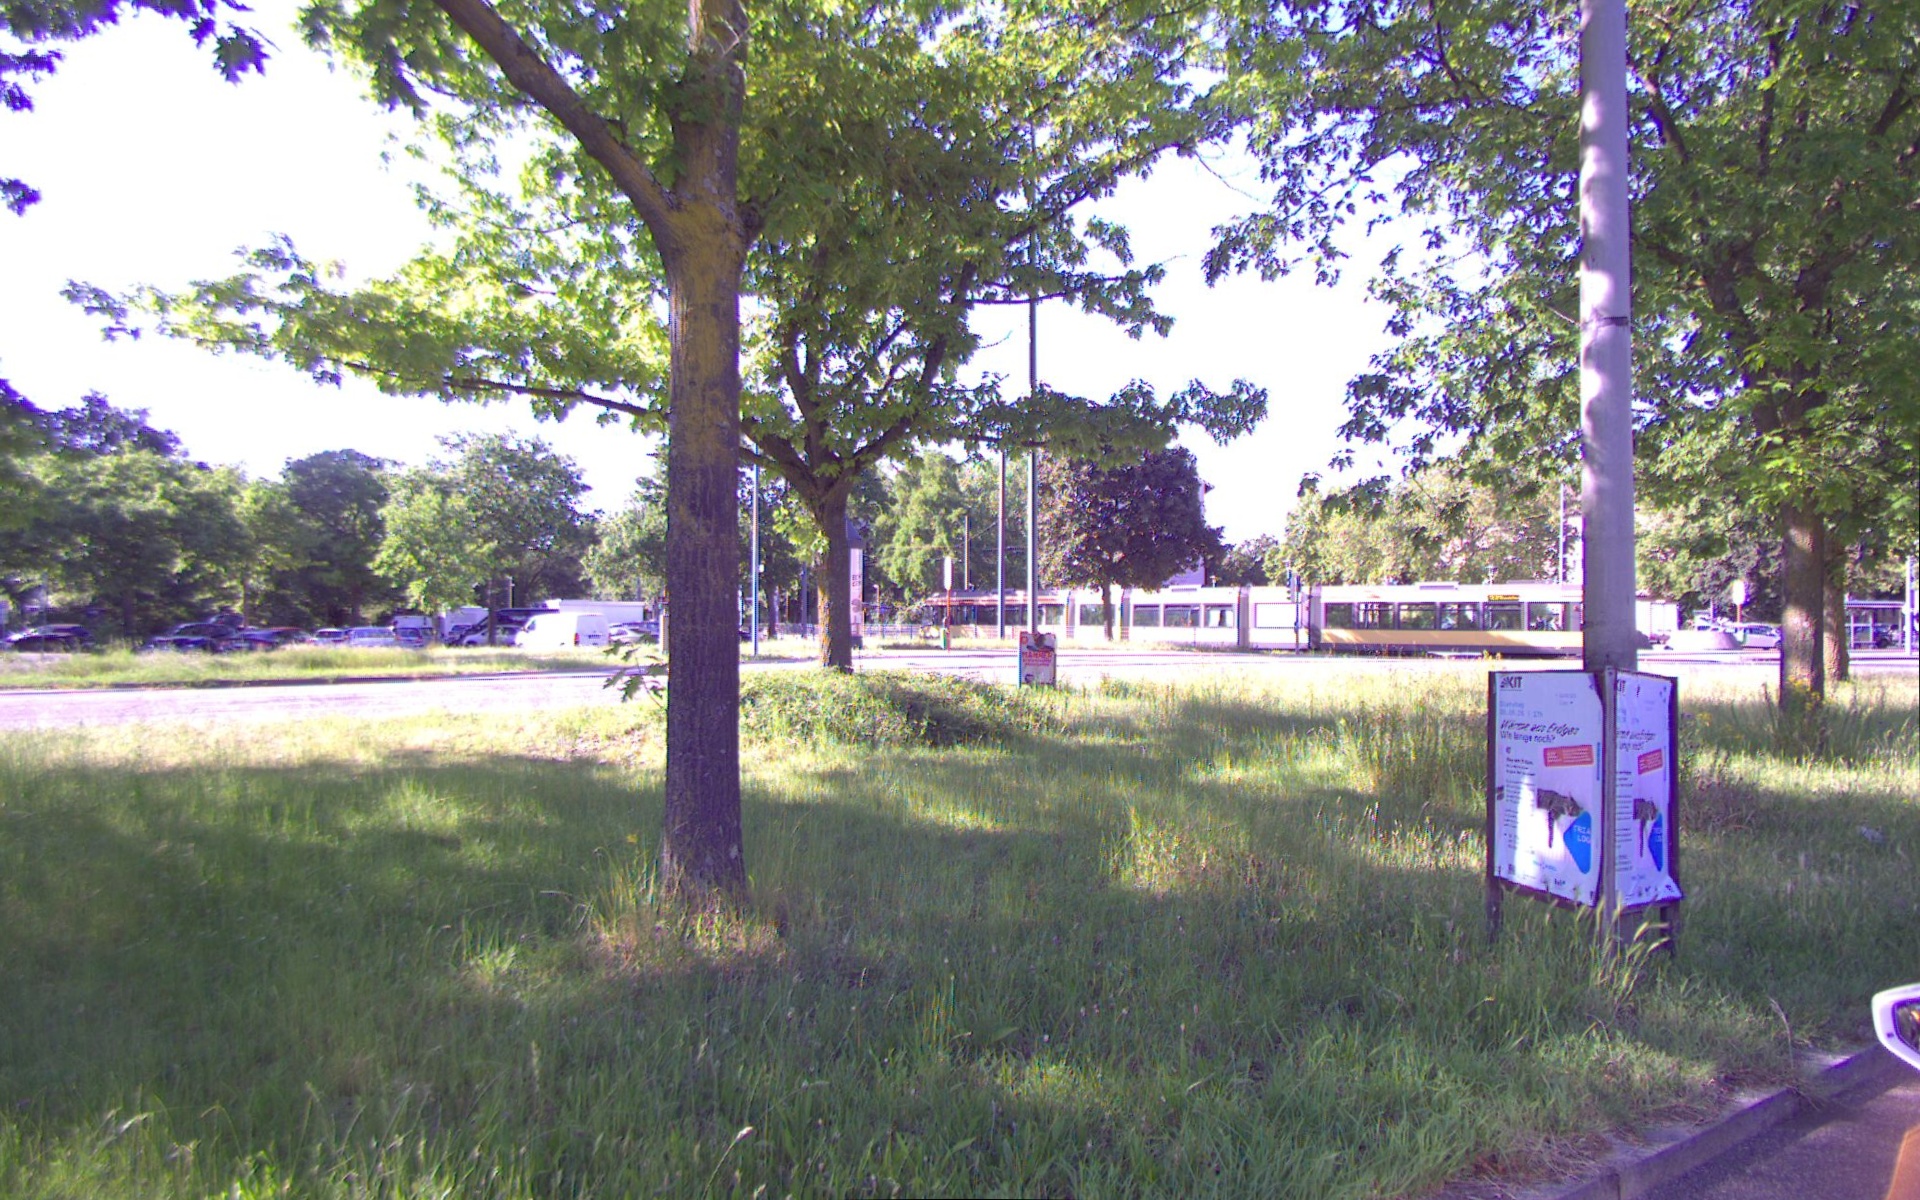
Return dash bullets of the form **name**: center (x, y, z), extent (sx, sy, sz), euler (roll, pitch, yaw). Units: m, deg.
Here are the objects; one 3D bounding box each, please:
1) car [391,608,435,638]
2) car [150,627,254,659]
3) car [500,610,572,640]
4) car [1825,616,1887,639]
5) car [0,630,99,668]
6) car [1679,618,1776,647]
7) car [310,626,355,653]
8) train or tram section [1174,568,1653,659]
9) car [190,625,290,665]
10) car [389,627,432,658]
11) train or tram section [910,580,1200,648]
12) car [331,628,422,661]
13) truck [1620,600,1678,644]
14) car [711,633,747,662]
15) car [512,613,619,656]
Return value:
- **car**: center (-32.497, 1.362, 59.779), extent (1.865, 1.691, 3.733), euler (1, -1, -22)
- **car**: center (-26.849, 1.501, 35.622), extent (1.315, 1.078, 2.777), euler (-1, -1, 42)
- **car**: center (-24.138, 1.410, 57.282), extent (3.698, 1.691, 1.883), euler (1, -1, -23)
- **car**: center (82.110, 2.537, 92.113), extent (3.933, 2.040, 1.994), euler (0, -1, 35)
- **car**: center (-47.469, 2.496, 52.029), extent (1.966, 1.817, 3.990), euler (0, -1, 32)
- **car**: center (46.899, 1.964, 61.463), extent (4.233, 1.706, 2.001), euler (0, -1, 9)
- **car**: center (-29.302, 1.822, 46.858), extent (1.603, 1.194, 3.047), euler (1, -1, -35)
- **train or tram section**: center (20.757, 0.632, 48.346), extent (20.430, 3.820, 3.301), euler (0, -1, 29)
- **car**: center (-25.240, 1.560, 35.237), extent (2.769, 1.323, 1.326), euler (1, -1, -40)
- **car**: center (-26.709, 2.026, 48.772), extent (1.602, 1.438, 3.050), euler (1, -1, -33)
- **train or tram section**: center (4.882, 0.828, 59.569), extent (19.109, 3.559, 3.288), euler (-1, -1, 43)
- **car**: center (-21.833, 1.631, 37.627), extent (2.769, 1.171, 1.326), euler (1, -1, -40)
- **truck**: center (46.632, 1.477, 68.088), extent (1.960, 2.842, 4.002), euler (0, -1, 15)
- **car**: center (-12.039, 2.452, 52.481), extent (1.589, 1.438, 3.073), euler (0, -1, -8)
- **car**: center (-17.225, 1.472, 43.794), extent (4.670, 1.762, 2.024), euler (0, -1, 34)
